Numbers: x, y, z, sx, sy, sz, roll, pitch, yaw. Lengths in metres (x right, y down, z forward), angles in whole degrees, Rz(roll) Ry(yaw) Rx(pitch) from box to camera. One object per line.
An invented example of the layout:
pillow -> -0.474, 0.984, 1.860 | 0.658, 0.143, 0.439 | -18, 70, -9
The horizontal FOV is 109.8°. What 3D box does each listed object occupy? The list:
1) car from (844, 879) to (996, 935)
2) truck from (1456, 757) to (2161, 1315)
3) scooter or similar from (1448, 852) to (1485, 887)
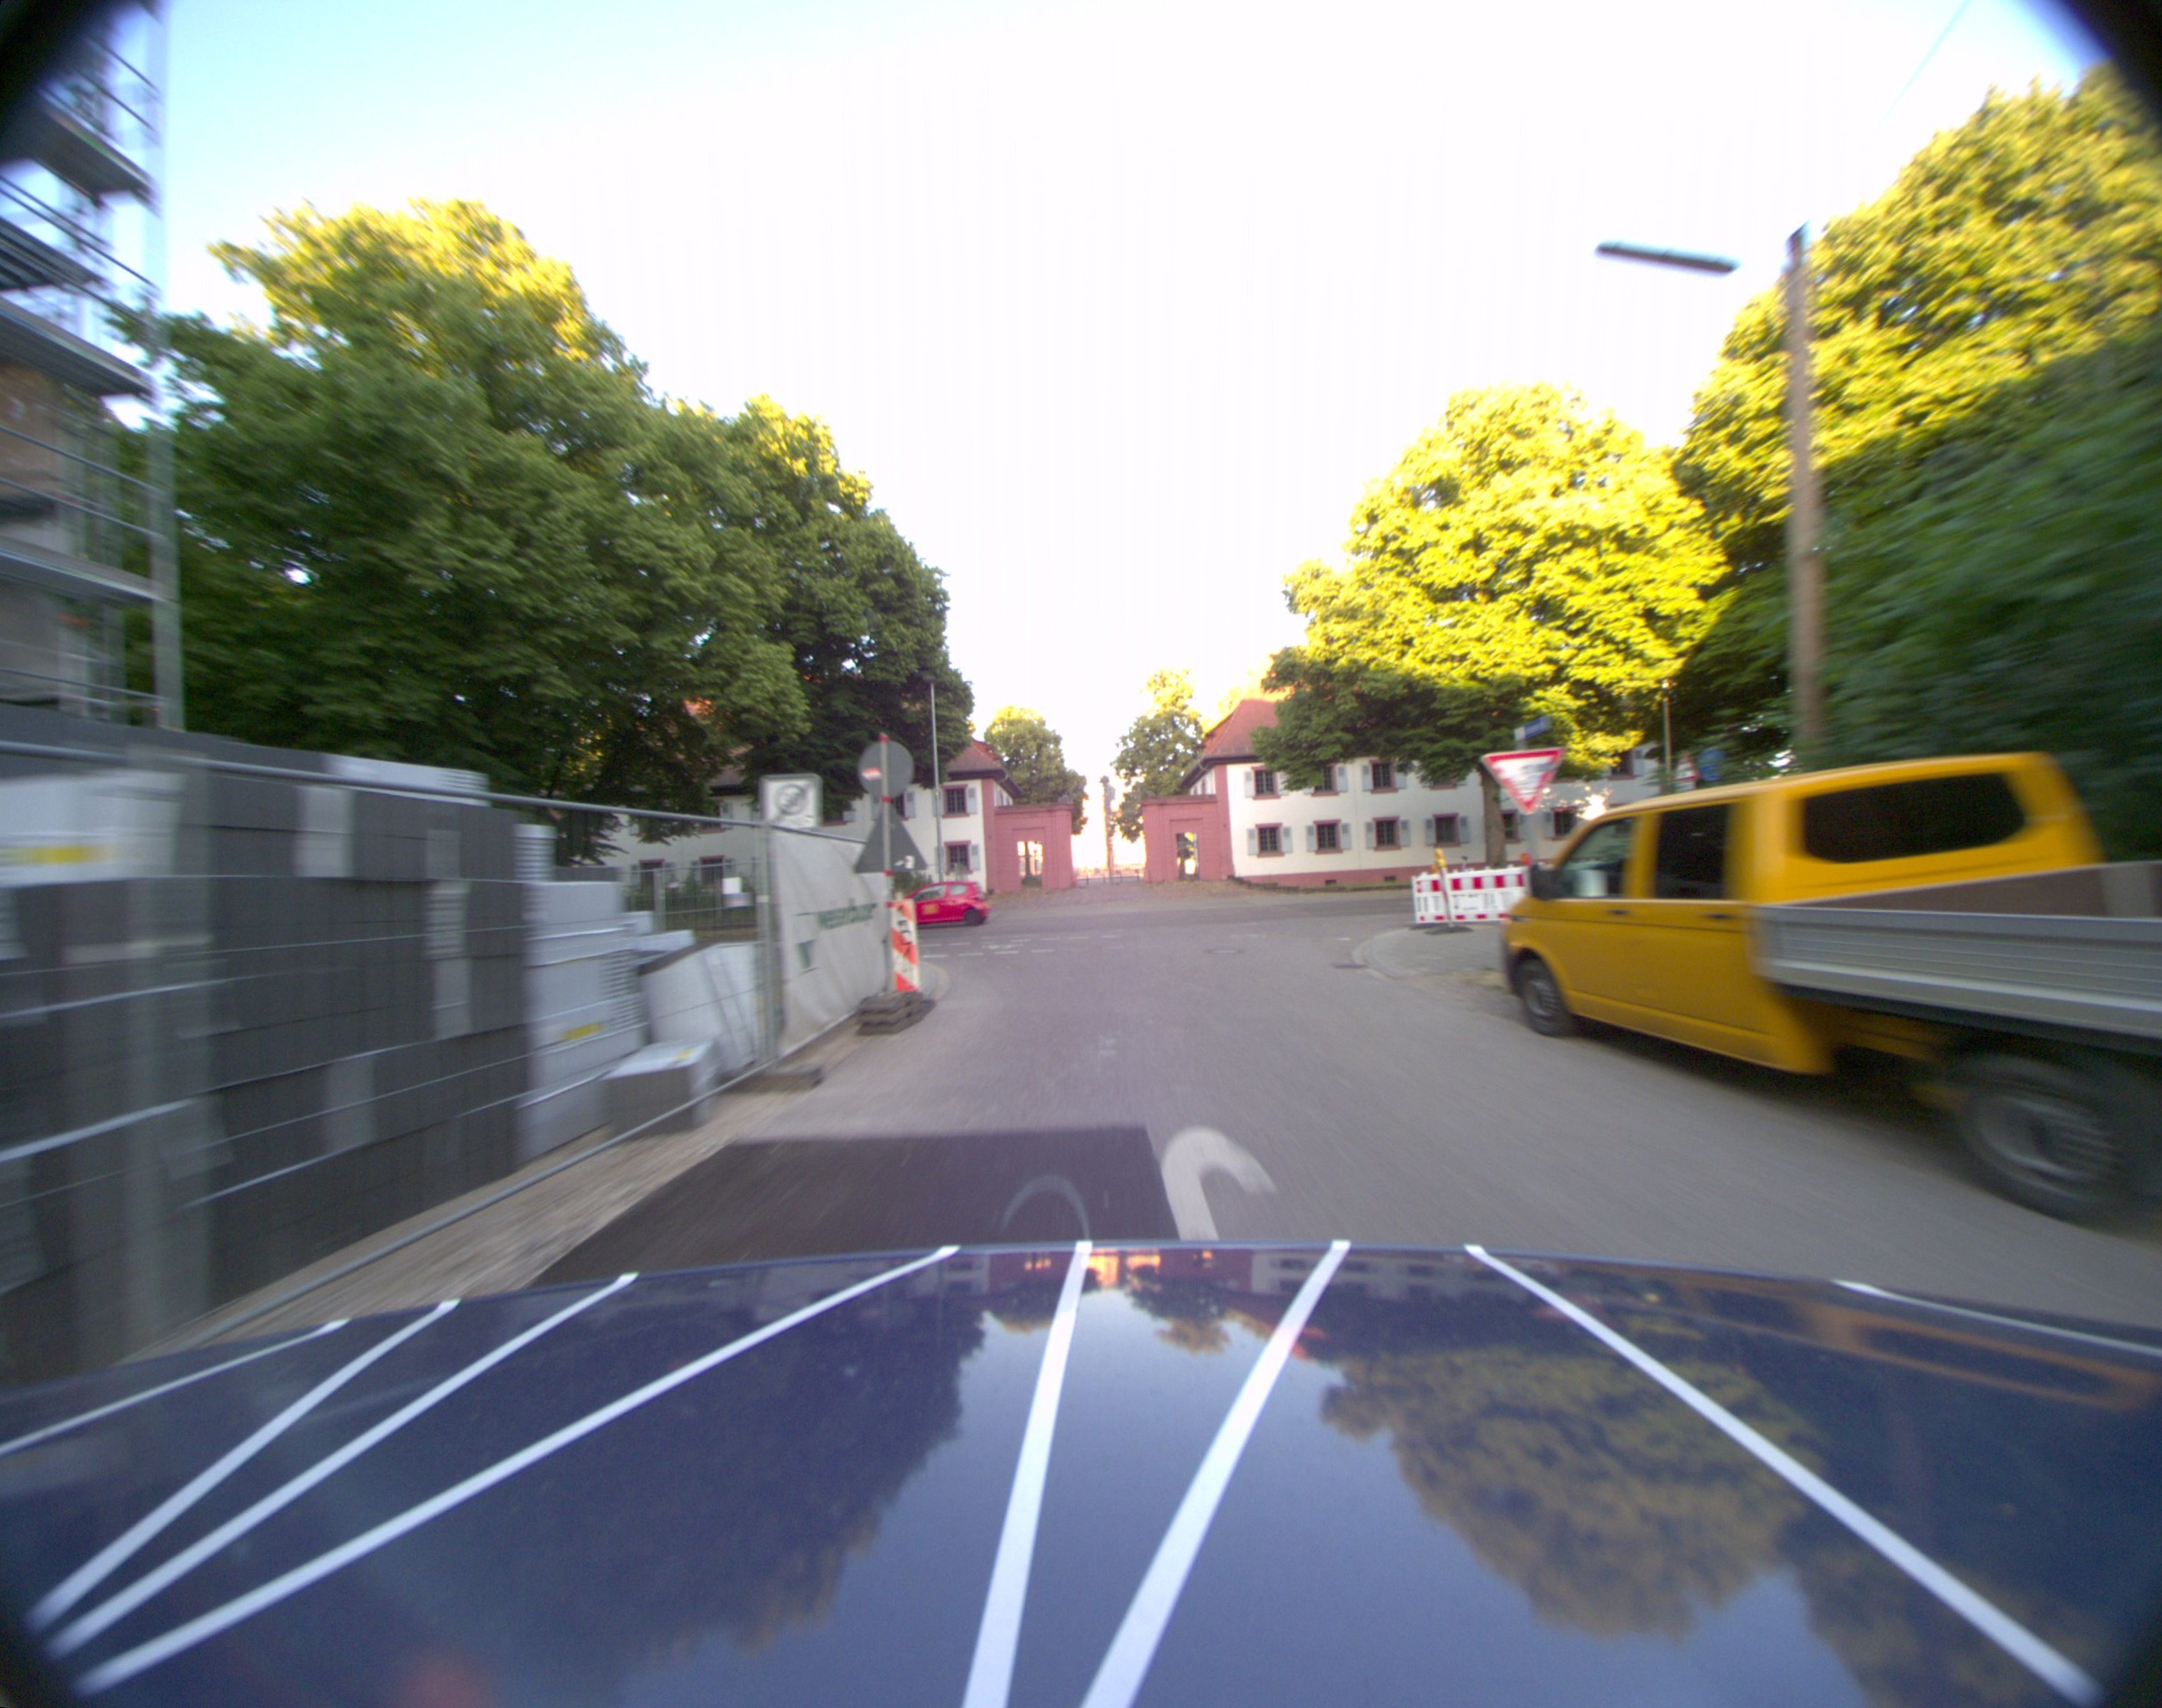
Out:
car -> -5.031, 1.659, 24.156 | 4.407, 1.404, 1.620 | -4, -2, -1
truck -> 4.682, 0.566, 4.551 | 2.039, 1.902, 5.662 | -4, 0, 1
scooter or similar -> 14.948, 0.609, 29.496 | 1.266, 1.268, 0.240 | -4, 0, -4
